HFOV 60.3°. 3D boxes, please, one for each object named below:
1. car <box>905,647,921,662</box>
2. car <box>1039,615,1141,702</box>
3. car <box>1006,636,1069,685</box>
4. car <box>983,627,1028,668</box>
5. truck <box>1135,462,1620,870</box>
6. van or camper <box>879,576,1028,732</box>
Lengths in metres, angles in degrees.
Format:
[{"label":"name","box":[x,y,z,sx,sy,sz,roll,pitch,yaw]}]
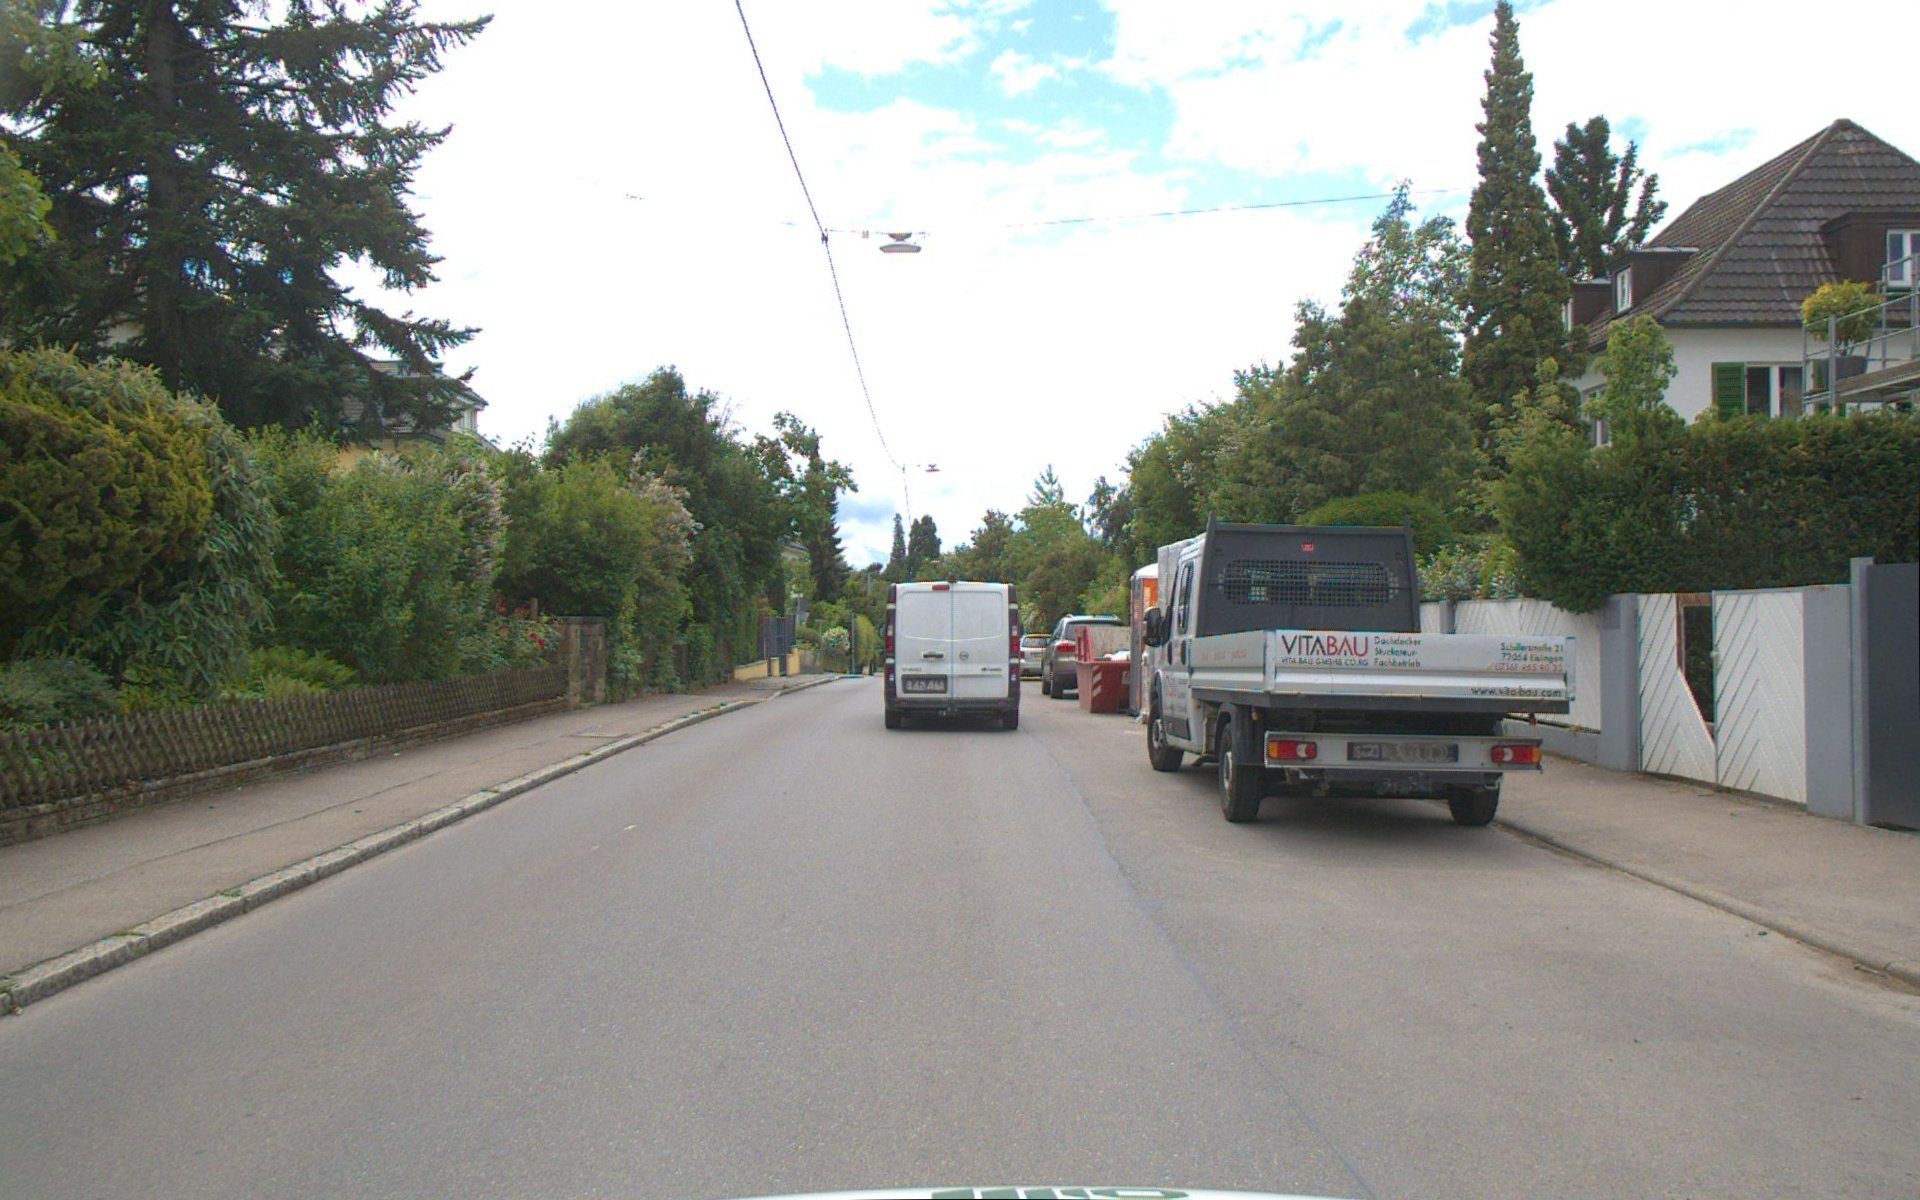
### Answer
[{"label":"car","box":[-5.015,5.831,177.458,1.709,1.552,4.010,-1,-1,-1]},{"label":"car","box":[2.684,1.212,34.907,1.709,1.704,4.183,-1,-1,-1]},{"label":"car","box":[2.465,1.923,53.433,1.709,1.472,4.257,-1,-1,-1]},{"label":"car","box":[1.900,1.991,70.133,1.709,1.658,4.257,-1,-1,-1]},{"label":"truck","box":[3.013,0.467,14.052,2.143,2.515,7.428,1,-1,-1]},{"label":"van or camper","box":[-0.131,0.783,23.729,1.900,1.988,4.763,1,-2,-1]}]
